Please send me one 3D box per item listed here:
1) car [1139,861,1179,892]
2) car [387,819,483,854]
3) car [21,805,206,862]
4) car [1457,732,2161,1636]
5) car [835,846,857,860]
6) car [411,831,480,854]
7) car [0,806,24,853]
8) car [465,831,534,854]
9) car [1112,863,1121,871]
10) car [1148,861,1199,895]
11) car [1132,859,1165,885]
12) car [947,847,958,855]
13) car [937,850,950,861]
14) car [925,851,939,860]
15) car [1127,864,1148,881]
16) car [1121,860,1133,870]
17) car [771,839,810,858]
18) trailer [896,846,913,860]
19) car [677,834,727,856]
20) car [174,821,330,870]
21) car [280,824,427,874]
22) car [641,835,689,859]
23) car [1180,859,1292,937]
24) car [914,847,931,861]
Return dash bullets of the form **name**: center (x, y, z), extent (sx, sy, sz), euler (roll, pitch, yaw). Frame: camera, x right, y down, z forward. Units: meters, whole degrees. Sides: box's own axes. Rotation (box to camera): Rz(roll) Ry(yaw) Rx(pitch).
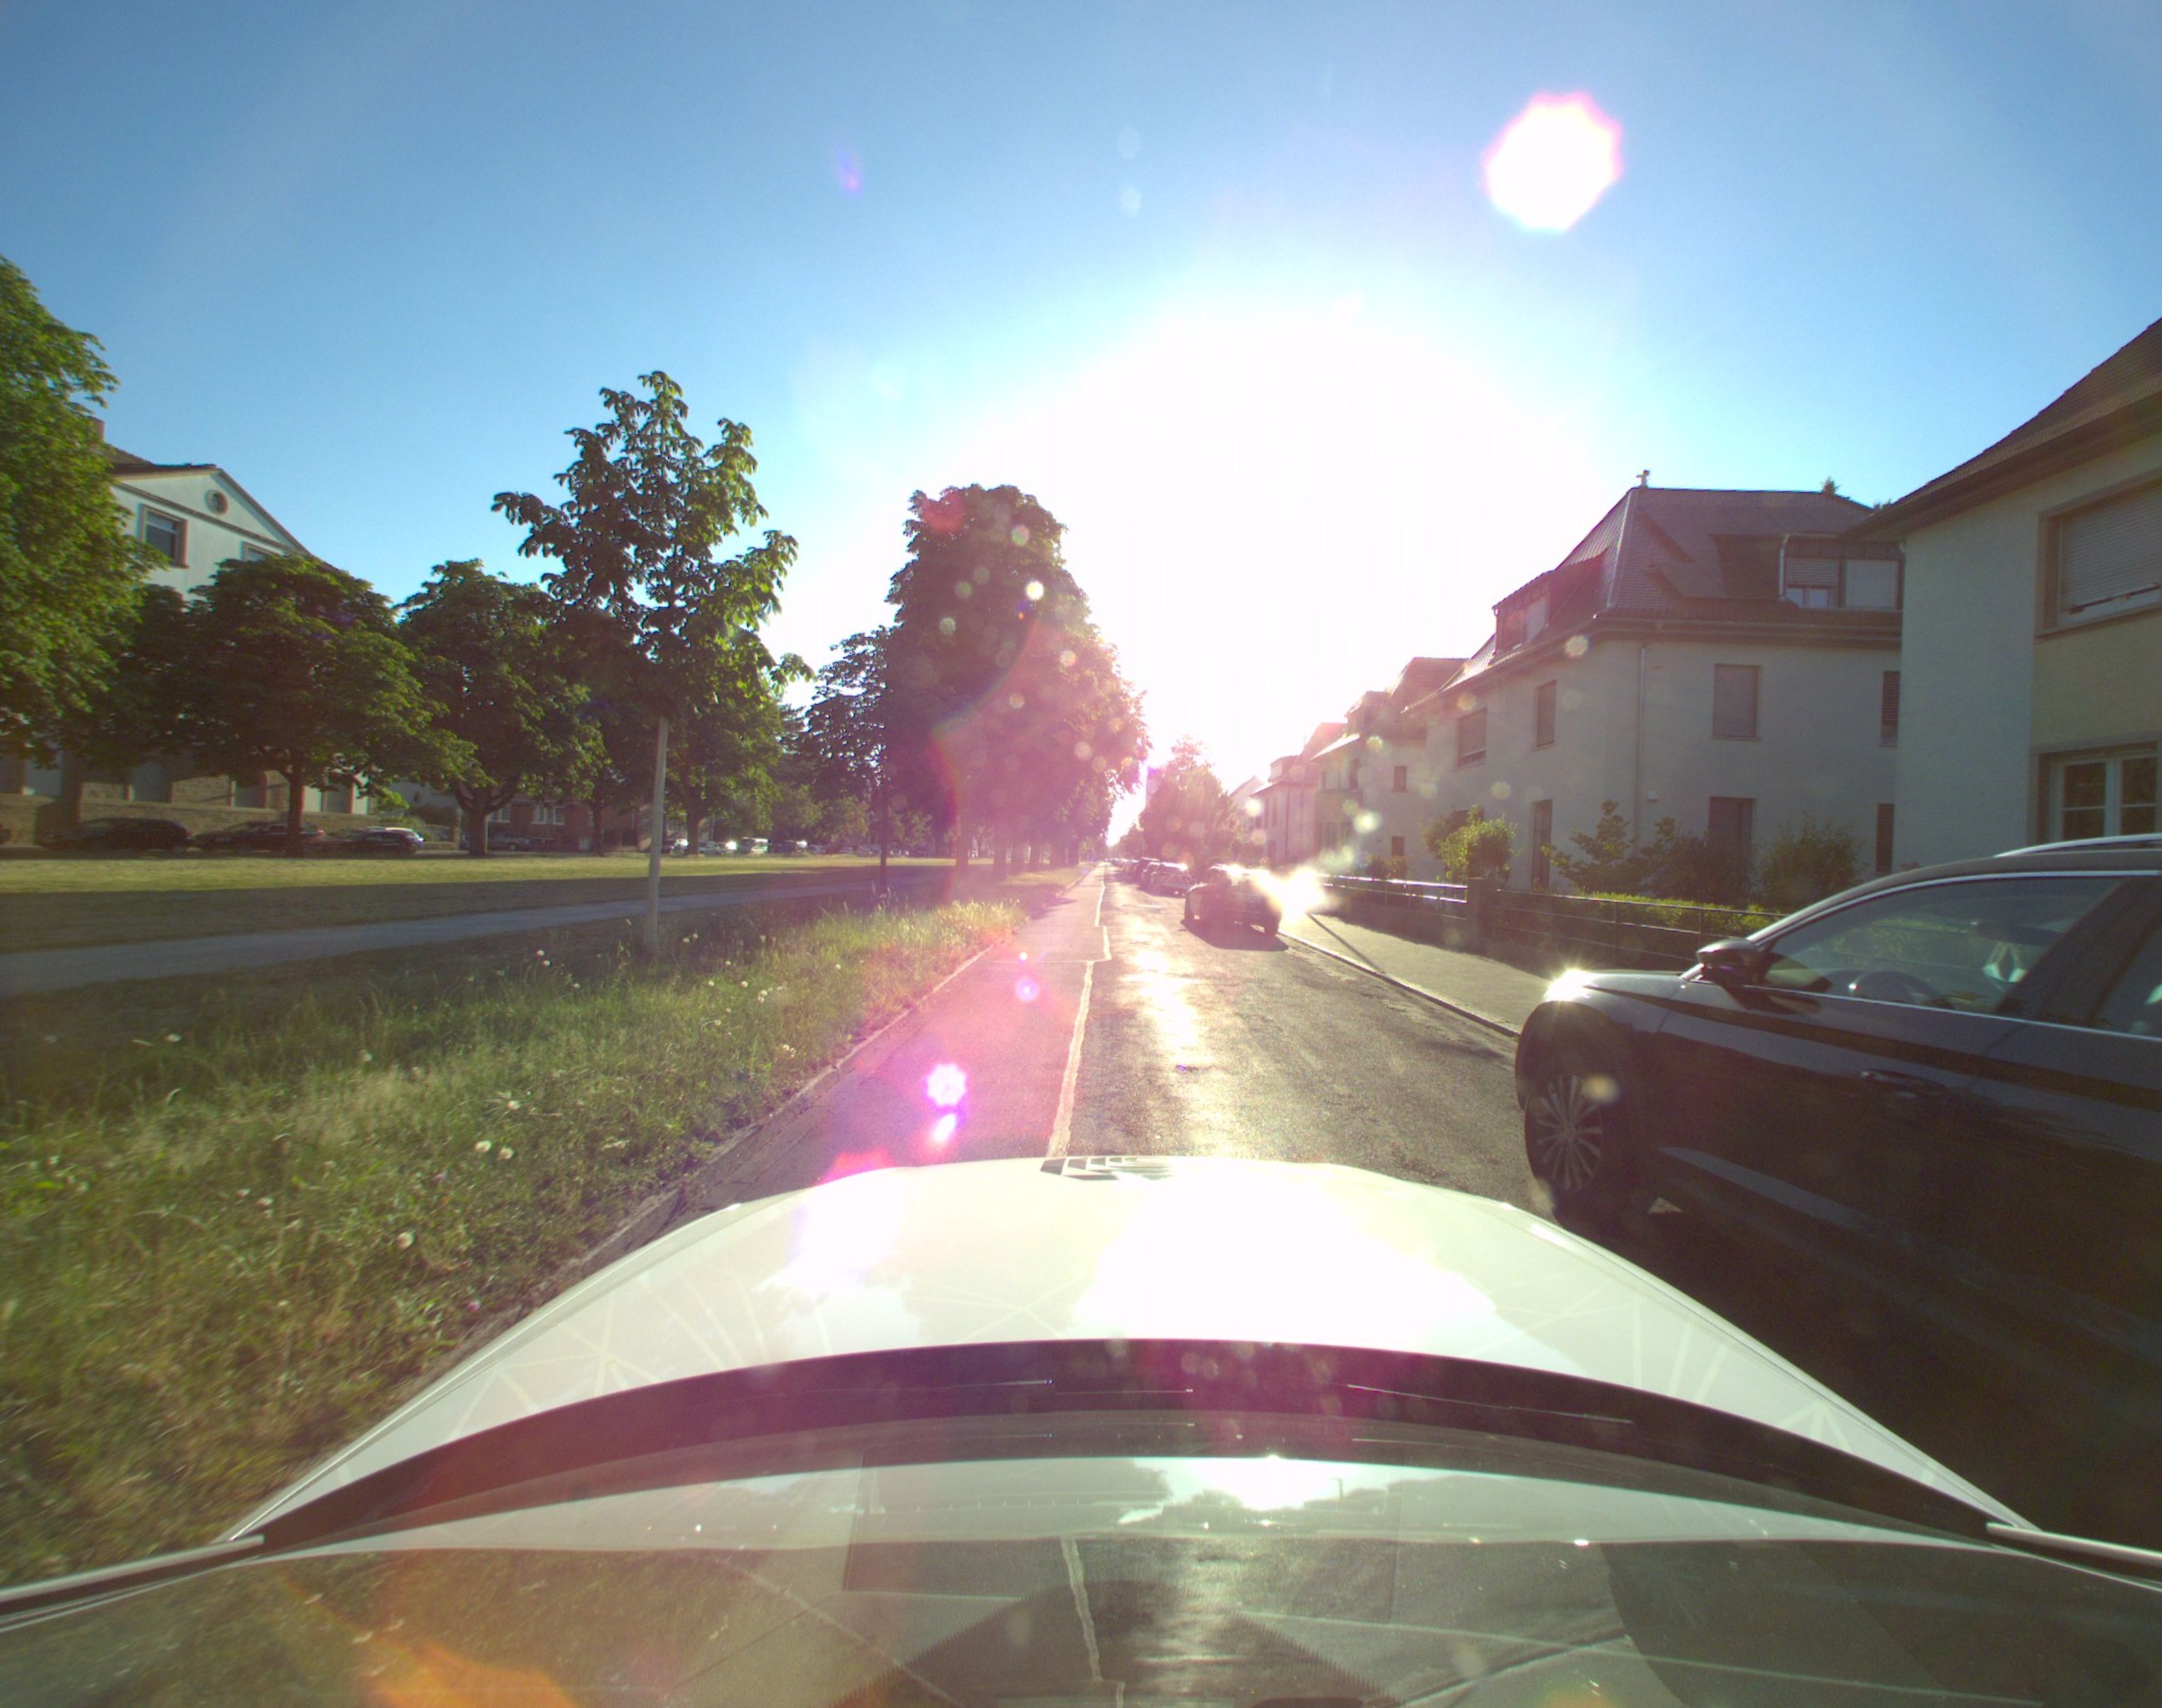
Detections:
- **car**: center (4.337, 1.223, 45.925), extent (1.773, 1.463, 4.595), euler (6, -1, 1)
- **car**: center (-45.706, -1.218, 57.717), extent (4.836, 1.610, 1.998), euler (3, -21, 2)
- **car**: center (-38.622, -0.744, 32.728), extent (1.987, 2.014, 4.429), euler (3, -1, 0)
- **car**: center (3.041, 0.735, 2.156), extent (1.852, 1.720, 4.467), euler (8, -1, 0)
- **car**: center (-35.613, -0.137, 123.430), extent (2.023, 2.014, 4.002), euler (1, -1, 3)
- **car**: center (-49.706, -0.905, 63.725), extent (3.883, 1.574, 1.836), euler (3, -1, 1)
- **car**: center (-38.692, -0.934, 26.752), extent (1.987, 1.652, 4.429), euler (3, -1, 0)
- **car**: center (-45.469, -0.871, 63.703), extent (3.971, 1.486, 1.866), euler (3, -1, 2)
- **car**: center (7.688, 2.725, 176.246), extent (1.753, 1.605, 4.358), euler (3, -1, 1)
- **car**: center (4.479, 1.116, 40.006), extent (1.987, 1.464, 4.550), euler (3, 0, 1)
- **car**: center (4.903, 1.275, 59.776), extent (1.987, 1.737, 4.863), euler (3, -1, 0)
- **car**: center (-33.659, -0.818, 213.622), extent (1.986, 2.014, 4.485), euler (1, -2, 1)
- **car**: center (-28.623, 0.314, 170.161), extent (1.678, 2.176, 4.317), euler (3, 0, 3)
- **car**: center (-29.163, 0.320, 159.781), extent (1.678, 1.560, 4.317), euler (3, -1, 3)
- **car**: center (5.470, 1.758, 79.558), extent (1.787, 1.492, 4.675), euler (4, -1, 1)
- **car**: center (7.472, 1.772, 132.286), extent (1.750, 1.420, 4.074), euler (9, -1, 2)
- **car**: center (-31.088, -0.570, 87.396), extent (1.985, 1.940, 5.249), euler (3, 0, 3)
- **trailer**: center (-34.574, -0.156, 159.634), extent (1.986, 2.428, 4.726), euler (3, -1, 2)
- **car**: center (-31.469, -0.714, 67.822), extent (1.812, 1.639, 4.652), euler (3, 0, 1)
- **car**: center (-38.390, -0.341, 37.939), extent (1.985, 2.014, 4.880), euler (3, -1, 3)
- **car**: center (-32.703, -0.182, 36.853), extent (1.985, 2.014, 4.880), euler (3, -1, 3)
- **car**: center (-36.845, -0.616, 72.314), extent (1.750, 2.013, 4.371), euler (3, 0, 2)
- **car**: center (3.604, 0.969, 19.749), extent (1.774, 1.499, 4.397), euler (6, -1, 0)
- **car**: center (-34.253, 0.036, 176.114), extent (2.428, 2.922, 5.820), euler (1, -1, 2)
